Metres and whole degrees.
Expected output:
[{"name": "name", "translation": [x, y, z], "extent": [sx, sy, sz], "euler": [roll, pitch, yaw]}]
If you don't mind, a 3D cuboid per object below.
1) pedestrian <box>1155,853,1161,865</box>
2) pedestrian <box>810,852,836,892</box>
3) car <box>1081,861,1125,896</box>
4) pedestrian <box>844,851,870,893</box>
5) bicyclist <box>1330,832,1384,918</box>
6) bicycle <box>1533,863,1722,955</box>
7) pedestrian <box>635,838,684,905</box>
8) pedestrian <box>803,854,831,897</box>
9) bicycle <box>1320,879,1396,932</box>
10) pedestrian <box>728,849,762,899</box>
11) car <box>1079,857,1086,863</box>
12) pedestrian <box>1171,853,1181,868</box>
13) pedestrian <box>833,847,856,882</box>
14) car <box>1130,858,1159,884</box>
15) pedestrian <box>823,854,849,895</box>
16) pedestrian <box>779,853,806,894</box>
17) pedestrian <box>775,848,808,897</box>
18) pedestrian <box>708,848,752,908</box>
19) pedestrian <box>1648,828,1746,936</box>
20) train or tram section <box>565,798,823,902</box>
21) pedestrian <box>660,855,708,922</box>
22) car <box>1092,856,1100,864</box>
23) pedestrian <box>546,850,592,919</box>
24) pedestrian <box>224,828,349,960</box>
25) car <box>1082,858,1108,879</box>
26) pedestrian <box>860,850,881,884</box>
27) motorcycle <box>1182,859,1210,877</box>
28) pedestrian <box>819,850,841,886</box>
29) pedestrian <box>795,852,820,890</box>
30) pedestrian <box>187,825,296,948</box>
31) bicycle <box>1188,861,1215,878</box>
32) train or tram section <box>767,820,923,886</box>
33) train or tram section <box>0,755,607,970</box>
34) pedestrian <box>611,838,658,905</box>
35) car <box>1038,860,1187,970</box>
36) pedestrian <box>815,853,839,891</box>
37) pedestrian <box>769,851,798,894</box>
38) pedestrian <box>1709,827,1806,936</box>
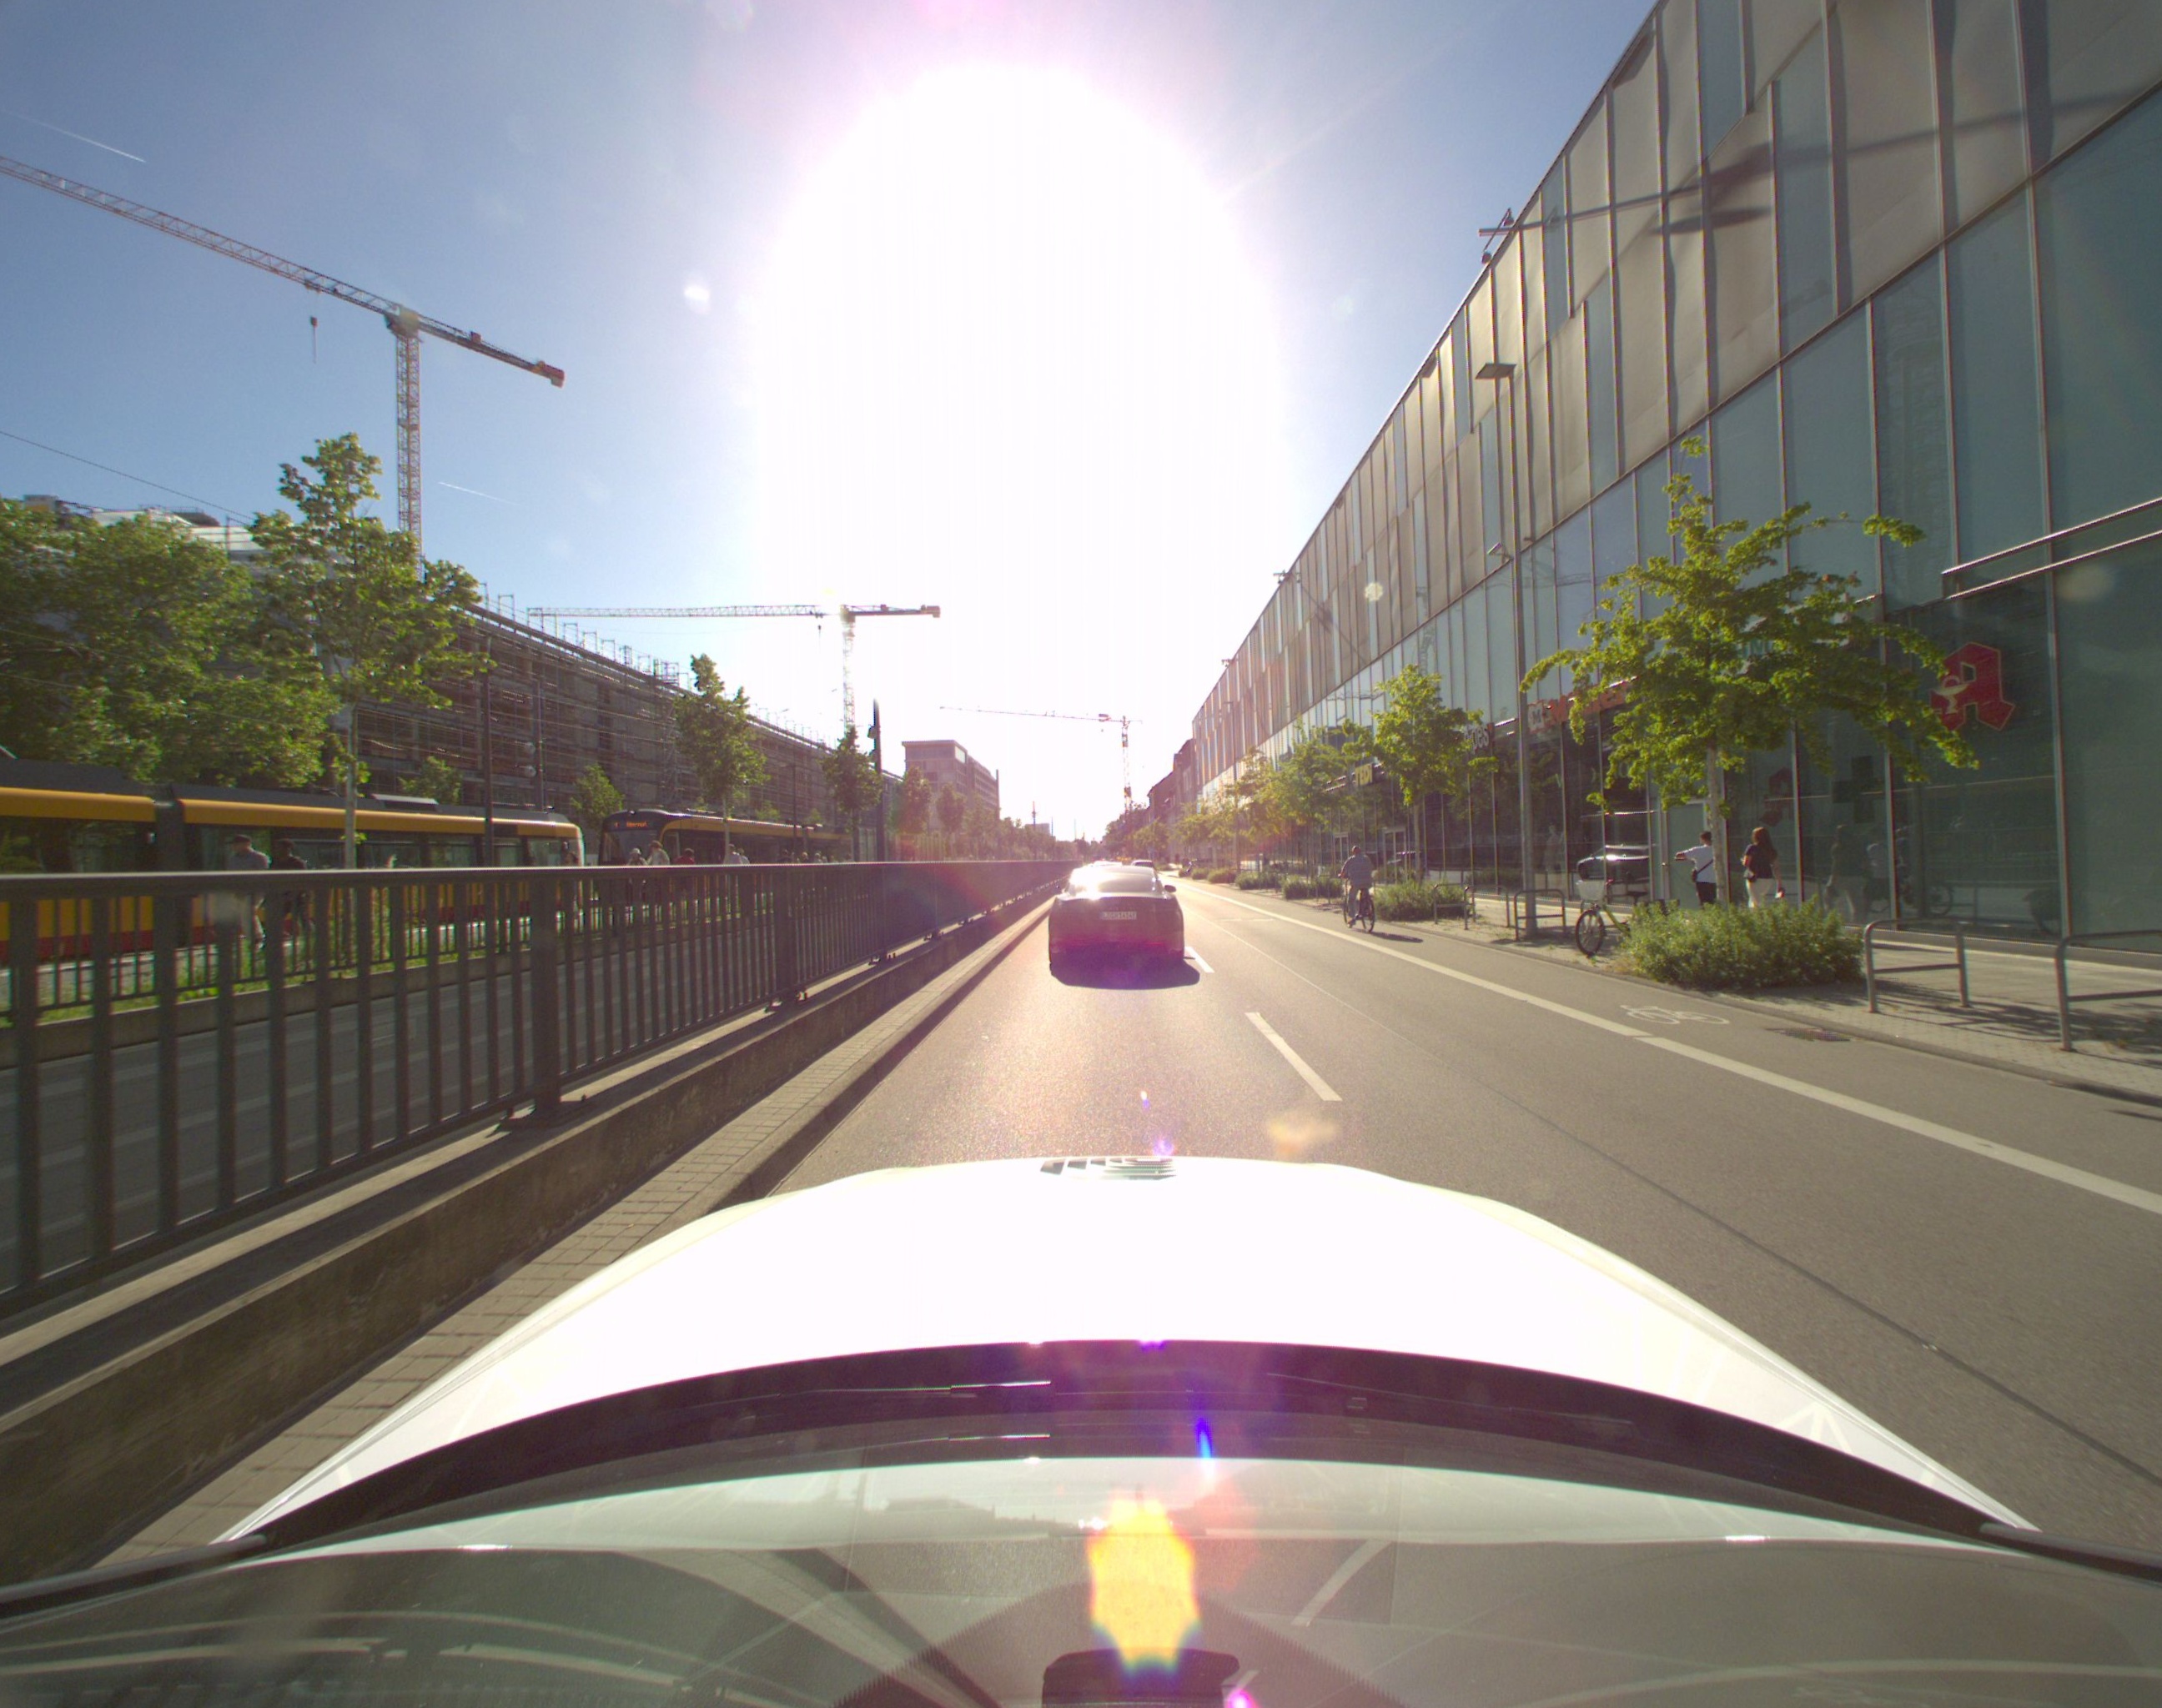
[{"name": "pedestrian", "translation": [12.503, 0.868, 132.423], "extent": [0.848, 1.863, 0.930], "euler": [-2, -1, 0]}, {"name": "pedestrian", "translation": [-10.886, 0.758, 34.346], "extent": [0.738, 1.628, 0.948], "euler": [-2, -1, 3]}, {"name": "car", "translation": [0.970, 0.973, 34.457], "extent": [1.709, 1.320, 4.003], "euler": [-1, 0, 3]}, {"name": "pedestrian", "translation": [-9.085, 0.725, 33.032], "extent": [0.738, 1.628, 0.862], "euler": [-2, -1, 3]}, {"name": "bicyclist", "translation": [5.804, 0.428, 17.164], "extent": [0.723, 1.737, 0.997], "euler": [-2, -1, -2]}, {"name": "bicycle", "translation": [8.030, 0.794, 12.069], "extent": [2.074, 1.205, 0.952], "euler": [-3, -1, 8]}, {"name": "pedestrian", "translation": [-11.801, 0.482, 22.833], "extent": [0.767, 1.811, 1.031], "euler": [-2, -1, 1]}, {"name": "pedestrian", "translation": [-10.292, 0.821, 31.763], "extent": [0.738, 1.628, 0.862], "euler": [-2, -1, 3]}, {"name": "bicycle", "translation": [5.822, 1.057, 17.266], "extent": [0.726, 0.983, 2.331], "euler": [-1, -1, -2]}, {"name": "pedestrian", "translation": [-11.703, 0.676, 28.376], "extent": [0.738, 1.694, 0.862], "euler": [-2, -1, 3]}, {"name": "car", "translation": [0.337, 1.612, 227.476], "extent": [1.987, 1.684, 4.000], "euler": [0, -1, 1]}, {"name": "pedestrian", "translation": [11.774, 0.816, 100.986], "extent": [1.091, 1.863, 1.522], "euler": [-2, -1, 0]}, {"name": "pedestrian", "translation": [-11.074, 0.496, 38.148], "extent": [0.738, 1.628, 0.862], "euler": [-2, -1, 3]}, {"name": "car", "translation": [4.105, 1.069, 52.983], "extent": [1.777, 1.546, 4.042], "euler": [-1, 0, 3]}, {"name": "pedestrian", "translation": [-9.896, 0.809, 32.919], "extent": [0.738, 1.628, 0.862], "euler": [-2, -1, 3]}, {"name": "pedestrian", "translation": [-11.849, 0.797, 33.500], "extent": [0.738, 1.628, 0.862], "euler": [-2, -1, 3]}, {"name": "pedestrian", "translation": [-9.918, 0.622, 27.929], "extent": [0.738, 1.628, 0.862], "euler": [-2, -1, 3]}, {"name": "pedestrian", "translation": [-11.087, 0.744, 25.733], "extent": [0.883, 1.851, 1.008], "euler": [-2, -1, 2]}, {"name": "pedestrian", "translation": [9.996, 0.438, 13.248], "extent": [0.819, 1.658, 0.899], "euler": [-3, -1, -3]}, {"name": "train or tram section", "translation": [-14.583, -0.097, 33.228], "extent": [2.859, 3.279, 15.190], "euler": [0, 0, 2]}, {"name": "pedestrian", "translation": [-9.980, 0.857, 20.488], "extent": [0.738, 1.628, 0.862], "euler": [-2, -1, 3]}, {"name": "car", "translation": [3.507, 1.346, 189.339], "extent": [1.806, 1.809, 4.042], "euler": [-1, 0, 3]}, {"name": "pedestrian", "translation": [-11.492, 0.675, 18.298], "extent": [0.645, 1.512, 0.588], "euler": [0, 0, -1]}, {"name": "pedestrian", "translation": [-11.156, 0.534, 11.475], "extent": [0.788, 1.775, 0.978], "euler": [0, 0, -1]}, {"name": "car", "translation": [1.208, 1.181, 68.272], "extent": [1.879, 1.596, 4.005], "euler": [-2, 0, 4]}, {"name": "pedestrian", "translation": [-10.322, 0.619, 39.921], "extent": [0.738, 1.628, 0.862], "euler": [-2, -1, 3]}, {"name": "motorcycle", "translation": [9.441, 1.129, 66.984], "extent": [2.054, 1.353, 0.656], "euler": [-5, -1, 24]}, {"name": "pedestrian", "translation": [-11.771, 0.648, 38.208], "extent": [0.738, 1.628, 0.862], "euler": [-2, -1, 3]}, {"name": "pedestrian", "translation": [-11.960, 0.740, 35.590], "extent": [0.738, 1.628, 0.862], "euler": [-2, -1, 3]}, {"name": "pedestrian", "translation": [-12.512, 0.468, 12.160], "extent": [0.759, 1.775, 0.826], "euler": [0, 0, -1]}, {"name": "bicycle", "translation": [9.220, 1.170, 62.345], "extent": [1.881, 1.151, 0.669], "euler": [-3, -1, -9]}, {"name": "train or tram section", "translation": [-13.983, -0.001, 51.895], "extent": [2.859, 3.279, 22.151], "euler": [0, 0, 2]}, {"name": "train or tram section", "translation": [-17.874, 0.176, 19.832], "extent": [2.837, 3.321, 15.971], "euler": [0, 0, 2]}, {"name": "pedestrian", "translation": [-12.539, 0.493, 22.913], "extent": [0.669, 1.811, 1.075], "euler": [-2, -1, 1]}, {"name": "car", "translation": [0.593, 0.849, 13.254], "extent": [1.990, 1.434, 4.418], "euler": [-1, 0, 4]}, {"name": "pedestrian", "translation": [-11.132, 0.798, 35.685], "extent": [0.738, 1.628, 0.862], "euler": [-2, -1, 3]}, {"name": "pedestrian", "translation": [-11.547, 0.704, 31.644], "extent": [0.738, 1.628, 0.862], "euler": [-2, -1, 3]}, {"name": "pedestrian", "translation": [10.831, 0.430, 13.071], "extent": [0.705, 1.658, 0.899], "euler": [-4, -1, -3]}]
